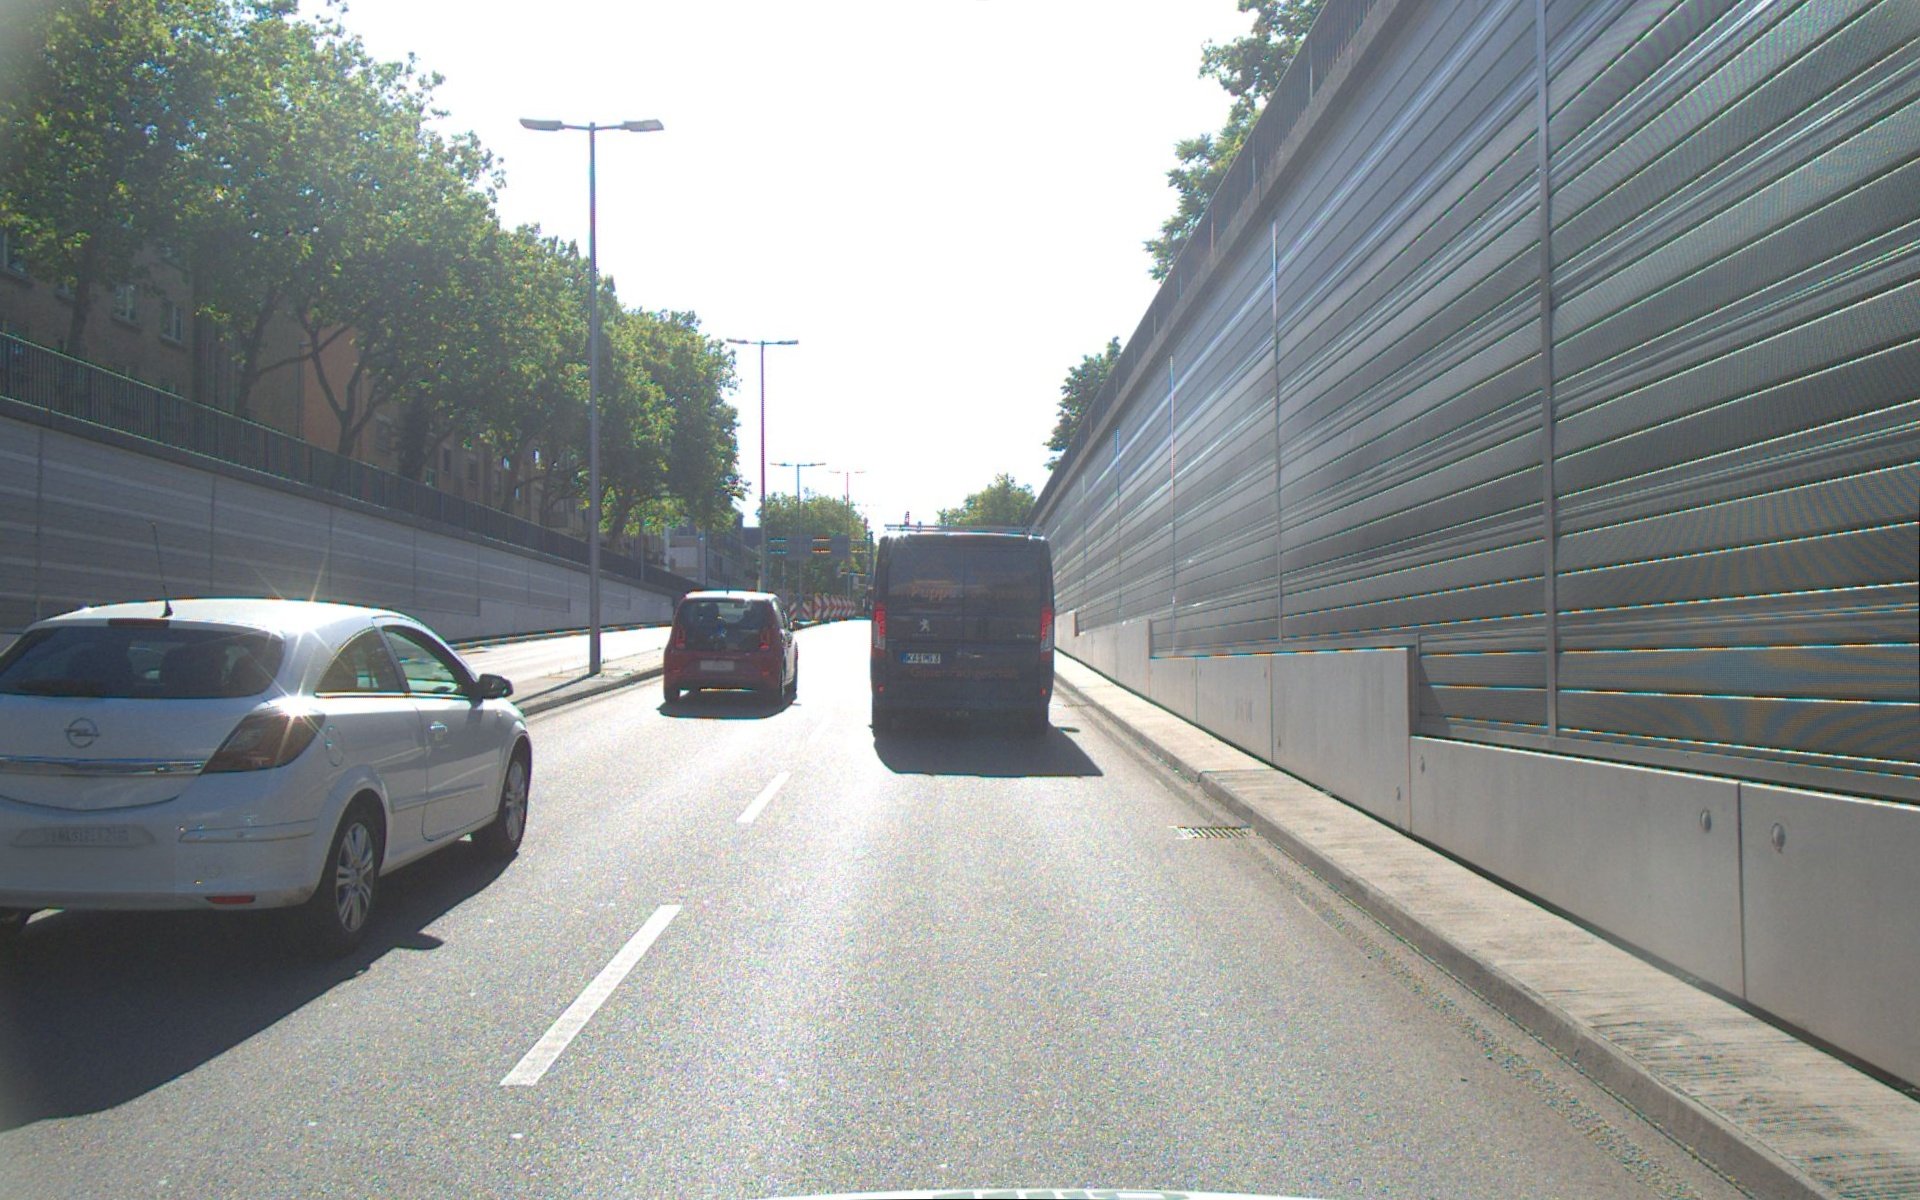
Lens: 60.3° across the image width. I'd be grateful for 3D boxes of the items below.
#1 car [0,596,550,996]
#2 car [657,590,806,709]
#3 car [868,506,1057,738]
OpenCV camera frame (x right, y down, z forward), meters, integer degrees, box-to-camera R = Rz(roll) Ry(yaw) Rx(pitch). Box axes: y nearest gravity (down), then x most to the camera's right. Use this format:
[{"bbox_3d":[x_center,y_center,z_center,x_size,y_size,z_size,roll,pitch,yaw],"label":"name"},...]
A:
[{"bbox_3d":[-3.219,0.722,7.904,1.586,1.428,3.851,1,-1,-1],"label":"car"},{"bbox_3d":[-3.102,0.629,22.997,1.655,1.509,3.318,1,0,-1],"label":"car"},{"bbox_3d":[0.000,0.254,19.492,1.989,2.444,3.972,0,-1,-1],"label":"car"}]
